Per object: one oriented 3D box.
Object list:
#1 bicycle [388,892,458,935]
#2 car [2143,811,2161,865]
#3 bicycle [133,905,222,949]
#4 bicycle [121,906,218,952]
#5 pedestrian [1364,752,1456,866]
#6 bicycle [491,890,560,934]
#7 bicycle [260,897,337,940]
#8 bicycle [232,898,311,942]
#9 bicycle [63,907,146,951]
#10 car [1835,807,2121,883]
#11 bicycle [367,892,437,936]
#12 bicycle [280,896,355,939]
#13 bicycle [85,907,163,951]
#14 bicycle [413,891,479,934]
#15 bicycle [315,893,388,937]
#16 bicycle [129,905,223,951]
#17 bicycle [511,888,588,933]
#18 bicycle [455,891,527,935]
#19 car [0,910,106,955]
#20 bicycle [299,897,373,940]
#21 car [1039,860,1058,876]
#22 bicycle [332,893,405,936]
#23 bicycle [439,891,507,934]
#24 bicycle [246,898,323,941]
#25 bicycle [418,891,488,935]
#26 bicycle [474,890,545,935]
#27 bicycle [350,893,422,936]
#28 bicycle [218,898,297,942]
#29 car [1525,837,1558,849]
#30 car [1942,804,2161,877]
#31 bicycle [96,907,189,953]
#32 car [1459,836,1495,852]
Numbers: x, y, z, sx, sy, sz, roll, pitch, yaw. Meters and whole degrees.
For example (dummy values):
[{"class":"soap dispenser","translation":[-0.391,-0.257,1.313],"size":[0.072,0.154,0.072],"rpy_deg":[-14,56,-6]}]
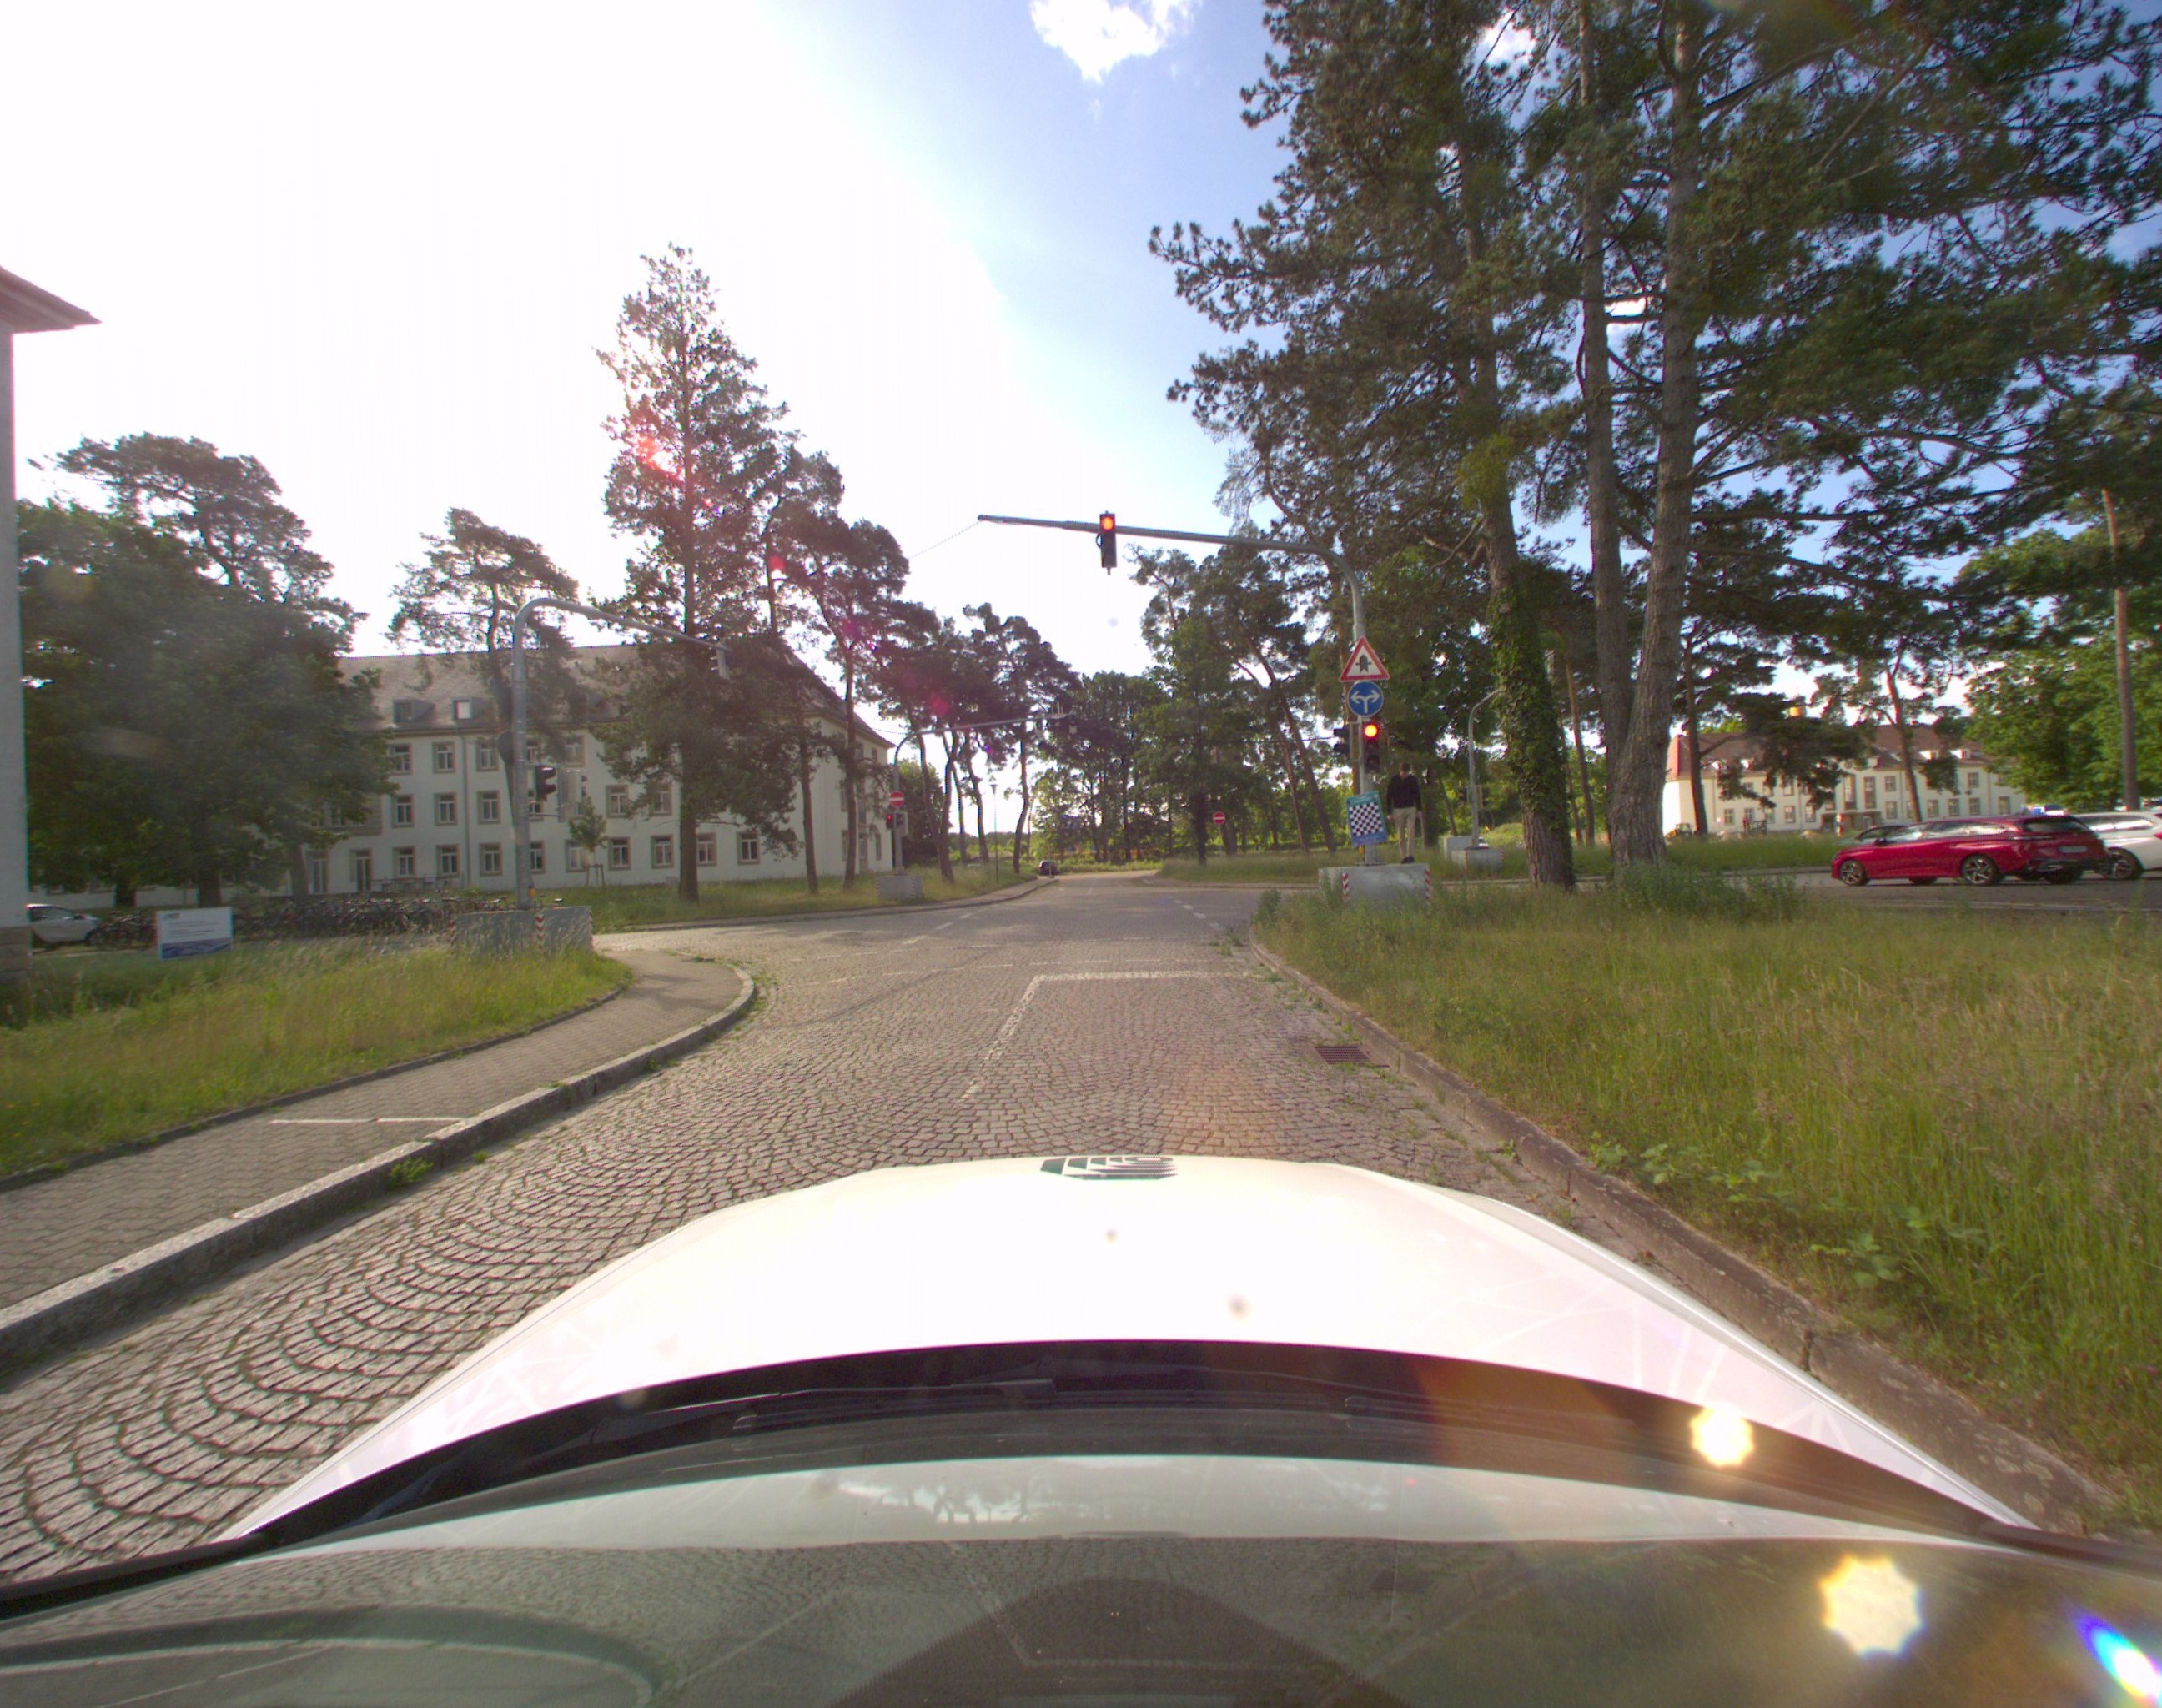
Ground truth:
[{"class":"bicycle","translation":[-21.067,1.882,26.134],"size":[0.512,1.220,2.016],"rpy_deg":[-3,0,1]},{"class":"car","translation":[26.968,-0.439,18.055],"size":[1.610,1.315,4.047],"rpy_deg":[-4,0,2]},{"class":"bicycle","translation":[-28.845,2.314,26.016],"size":[0.509,1.220,1.841],"rpy_deg":[-3,0,38]},{"class":"bicycle","translation":[-27.379,2.237,24.502],"size":[1.836,1.220,0.510],"rpy_deg":[-3,0,-35]},{"class":"pedestrian","translation":[5.568,-0.730,13.871],"size":[1.161,1.796,1.065],"rpy_deg":[-3,0,9]},{"class":"bicycle","translation":[-17.309,1.783,25.433],"size":[0.631,1.220,2.115],"rpy_deg":[-3,0,1]},{"class":"bicycle","translation":[-25.059,2.037,26.130],"size":[0.512,1.220,1.937],"rpy_deg":[-3,0,1]},{"class":"bicycle","translation":[-25.951,2.090,26.142],"size":[0.512,1.220,1.937],"rpy_deg":[-3,0,1]},{"class":"bicycle","translation":[-30.813,2.352,25.734],"size":[0.513,1.220,1.825],"rpy_deg":[-3,0,-6]},{"class":"car","translation":[18.979,-0.130,17.563],"size":[1.649,1.399,4.130],"rpy_deg":[-1,-1,2]},{"class":"bicycle","translation":[-21.716,1.898,26.094],"size":[0.512,1.220,1.977],"rpy_deg":[-3,0,1]},{"class":"bicycle","translation":[-24.449,2.021,26.135],"size":[0.512,1.220,1.937],"rpy_deg":[-3,0,1]},{"class":"bicycle","translation":[-30.207,2.337,25.744],"size":[0.514,1.220,1.823],"rpy_deg":[-3,0,-9]},{"class":"bicycle","translation":[-20.548,1.869,26.404],"size":[0.546,1.220,1.900],"rpy_deg":[-3,0,1]},{"class":"bicycle","translation":[-23.314,1.932,26.083],"size":[0.512,1.220,1.937],"rpy_deg":[-3,0,1]},{"class":"bicycle","translation":[-27.765,2.242,25.015],"size":[1.836,1.220,0.510],"rpy_deg":[-3,0,-35]},{"class":"bicycle","translation":[-16.073,1.705,24.660],"size":[1.855,1.220,0.635],"rpy_deg":[-3,0,1]},{"class":"bicycle","translation":[-18.397,1.812,25.443],"size":[0.631,1.220,2.105],"rpy_deg":[-3,0,1]},{"class":"car","translation":[-33.834,2.532,25.775],"size":[1.503,1.211,3.597],"rpy_deg":[-3,0,3]},{"class":"bicycle","translation":[-23.855,2.041,26.110],"size":[0.512,1.220,1.937],"rpy_deg":[-3,0,1]},{"class":"car","translation":[-3.262,1.364,81.806],"size":[1.704,1.496,3.917],"rpy_deg":[-3,0,-1]},{"class":"bicycle","translation":[-22.760,1.918,26.066],"size":[0.512,1.220,1.955],"rpy_deg":[-3,0,1]},{"class":"bicycle","translation":[-19.242,1.835,25.838],"size":[0.570,1.220,1.990],"rpy_deg":[-3,0,1]},{"class":"bicycle","translation":[-25.522,2.080,26.138],"size":[0.512,1.220,1.937],"rpy_deg":[-3,0,1]},{"class":"bicycle","translation":[-19.986,1.856,25.976],"size":[0.576,1.220,2.030],"rpy_deg":[-3,0,1]},{"class":"bicycle","translation":[-17.793,1.797,25.430],"size":[0.631,1.220,2.124],"rpy_deg":[-3,0,1]},{"class":"bicycle","translation":[-22.234,1.908,26.094],"size":[0.512,1.220,1.977],"rpy_deg":[-3,0,1]},{"class":"bicycle","translation":[-26.398,2.102,26.154],"size":[0.512,1.220,1.937],"rpy_deg":[-3,0,1]},{"class":"car","translation":[49.174,-1.151,87.069],"size":[1.713,1.087,4.009],"rpy_deg":[-3,0,8]},{"class":"car","translation":[21.848,-0.250,17.666],"size":[1.773,1.379,4.240],"rpy_deg":[-3,-2,0]},{"class":"bicycle","translation":[-28.874,2.310,25.082],"size":[0.509,1.220,1.841],"rpy_deg":[-3,0,38]},{"class":"car","translation":[42.149,-1.052,86.823],"size":[1.820,1.582,4.164],"rpy_deg":[-3,0,2]}]
